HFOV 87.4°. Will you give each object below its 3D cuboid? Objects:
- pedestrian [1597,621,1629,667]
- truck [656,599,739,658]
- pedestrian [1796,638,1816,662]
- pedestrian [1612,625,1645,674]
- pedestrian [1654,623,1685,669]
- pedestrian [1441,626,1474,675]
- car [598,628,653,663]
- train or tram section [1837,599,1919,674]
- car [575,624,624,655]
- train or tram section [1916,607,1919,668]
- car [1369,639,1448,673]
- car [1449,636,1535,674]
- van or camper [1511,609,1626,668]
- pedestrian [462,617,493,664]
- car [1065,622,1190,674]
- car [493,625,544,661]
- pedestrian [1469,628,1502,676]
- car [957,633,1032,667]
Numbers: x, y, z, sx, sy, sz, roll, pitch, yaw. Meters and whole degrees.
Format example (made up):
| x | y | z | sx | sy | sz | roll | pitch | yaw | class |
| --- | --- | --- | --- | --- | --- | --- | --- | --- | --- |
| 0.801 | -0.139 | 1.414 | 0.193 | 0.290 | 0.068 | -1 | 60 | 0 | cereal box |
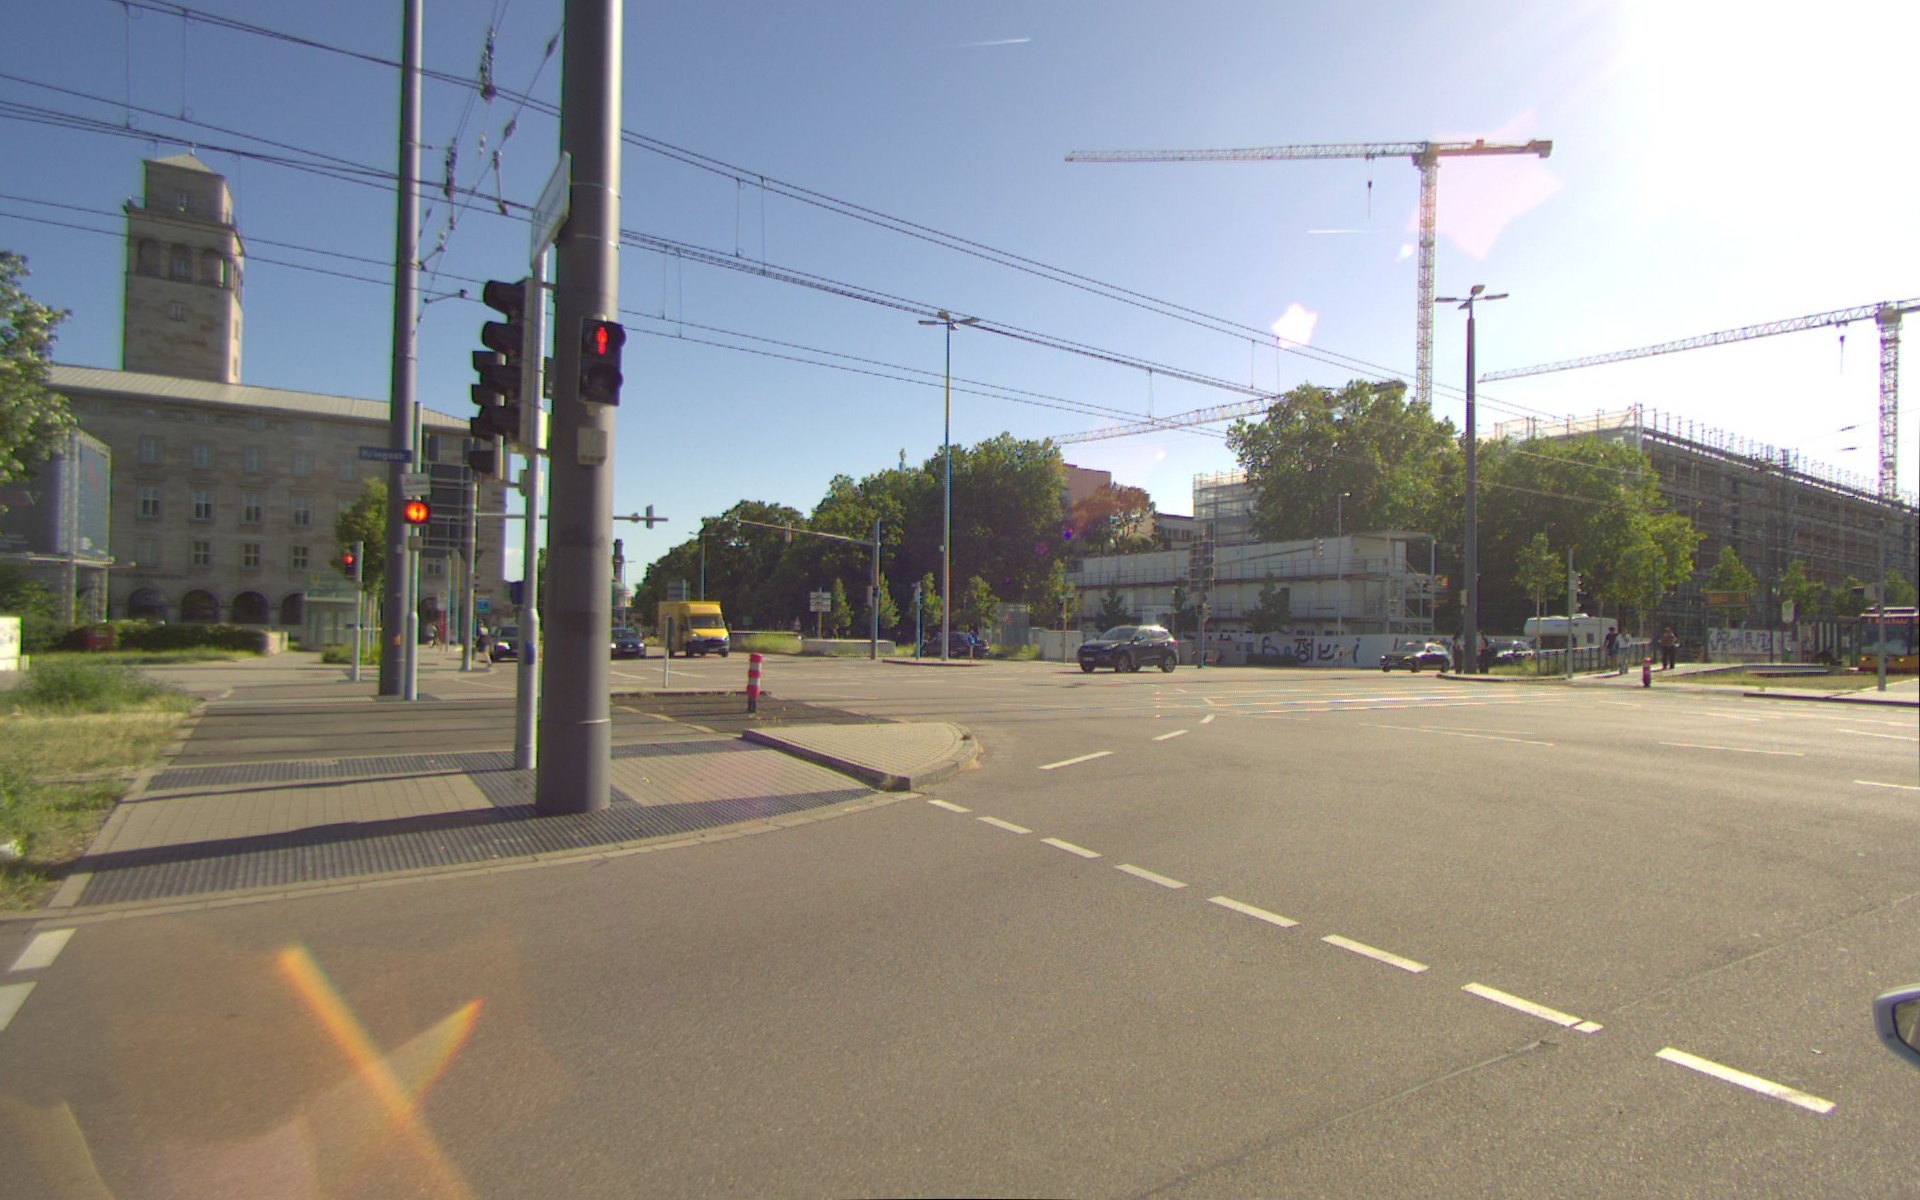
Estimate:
| x | y | z | sx | sy | sz | roll | pitch | yaw | class |
| --- | --- | --- | --- | --- | --- | --- | --- | --- | --- |
| 26.633 | 1.778 | 40.976 | 0.967 | 1.847 | 0.794 | 2 | -1 | -36 | pedestrian |
| -13.728 | 1.454 | 52.143 | 2.432 | 2.829 | 7.977 | 2 | -2 | -27 | truck |
| 44.799 | 2.637 | 53.205 | 0.501 | 1.242 | 0.666 | 3 | 0 | -36 | pedestrian |
| 25.782 | 1.916 | 38.726 | 0.967 | 1.847 | 0.794 | 2 | -1 | -36 | pedestrian |
| 28.937 | 1.875 | 40.971 | 0.967 | 1.847 | 0.794 | 2 | -1 | -36 | pedestrian |
| 19.069 | 1.936 | 38.527 | 0.864 | 1.847 | 0.802 | 1 | -1 | -1 | pedestrian |
| -16.201 | 2.156 | 48.517 | 1.879 | 1.559 | 3.972 | 2 | -2 | -27 | car |
| 48.243 | 1.880 | 50.609 | 12.938 | 3.354 | 2.852 | 2 | 0 | -34 | train or tram section |
| -19.042 | 2.069 | 52.975 | 1.879 | 1.559 | 3.972 | 2 | -2 | -27 | car |
| 60.122 | 2.348 | 58.670 | 15.801 | 3.366 | 2.830 | 2 | 0 | -34 | train or tram section |
| 23.057 | 2.848 | 51.541 | 4.796 | 1.582 | 1.975 | 2 | -2 | -43 | car |
| 25.830 | 2.655 | 48.733 | 4.324 | 1.730 | 1.933 | 2 | -2 | -35 | car |
| 32.484 | 2.075 | 53.527 | 7.269 | 2.976 | 2.588 | 2 | -2 | -35 | van or camper |
| -18.287 | 1.509 | 38.091 | 0.937 | 1.708 | 1.185 | 0 | 0 | -32 | pedestrian |
| 6.084 | 1.726 | 36.212 | 4.523 | 1.730 | 1.977 | 2 | -2 | -40 | car |
| -20.414 | 1.950 | 46.396 | 1.879 | 1.559 | 3.972 | 2 | -2 | -27 | car |
| 20.548 | 2.009 | 39.256 | 0.967 | 1.847 | 0.794 | 2 | -1 | -36 | pedestrian |
| 1.728 | 2.525 | 51.665 | 1.978 | 1.622 | 3.965 | 2 | -2 | -32 | car |
